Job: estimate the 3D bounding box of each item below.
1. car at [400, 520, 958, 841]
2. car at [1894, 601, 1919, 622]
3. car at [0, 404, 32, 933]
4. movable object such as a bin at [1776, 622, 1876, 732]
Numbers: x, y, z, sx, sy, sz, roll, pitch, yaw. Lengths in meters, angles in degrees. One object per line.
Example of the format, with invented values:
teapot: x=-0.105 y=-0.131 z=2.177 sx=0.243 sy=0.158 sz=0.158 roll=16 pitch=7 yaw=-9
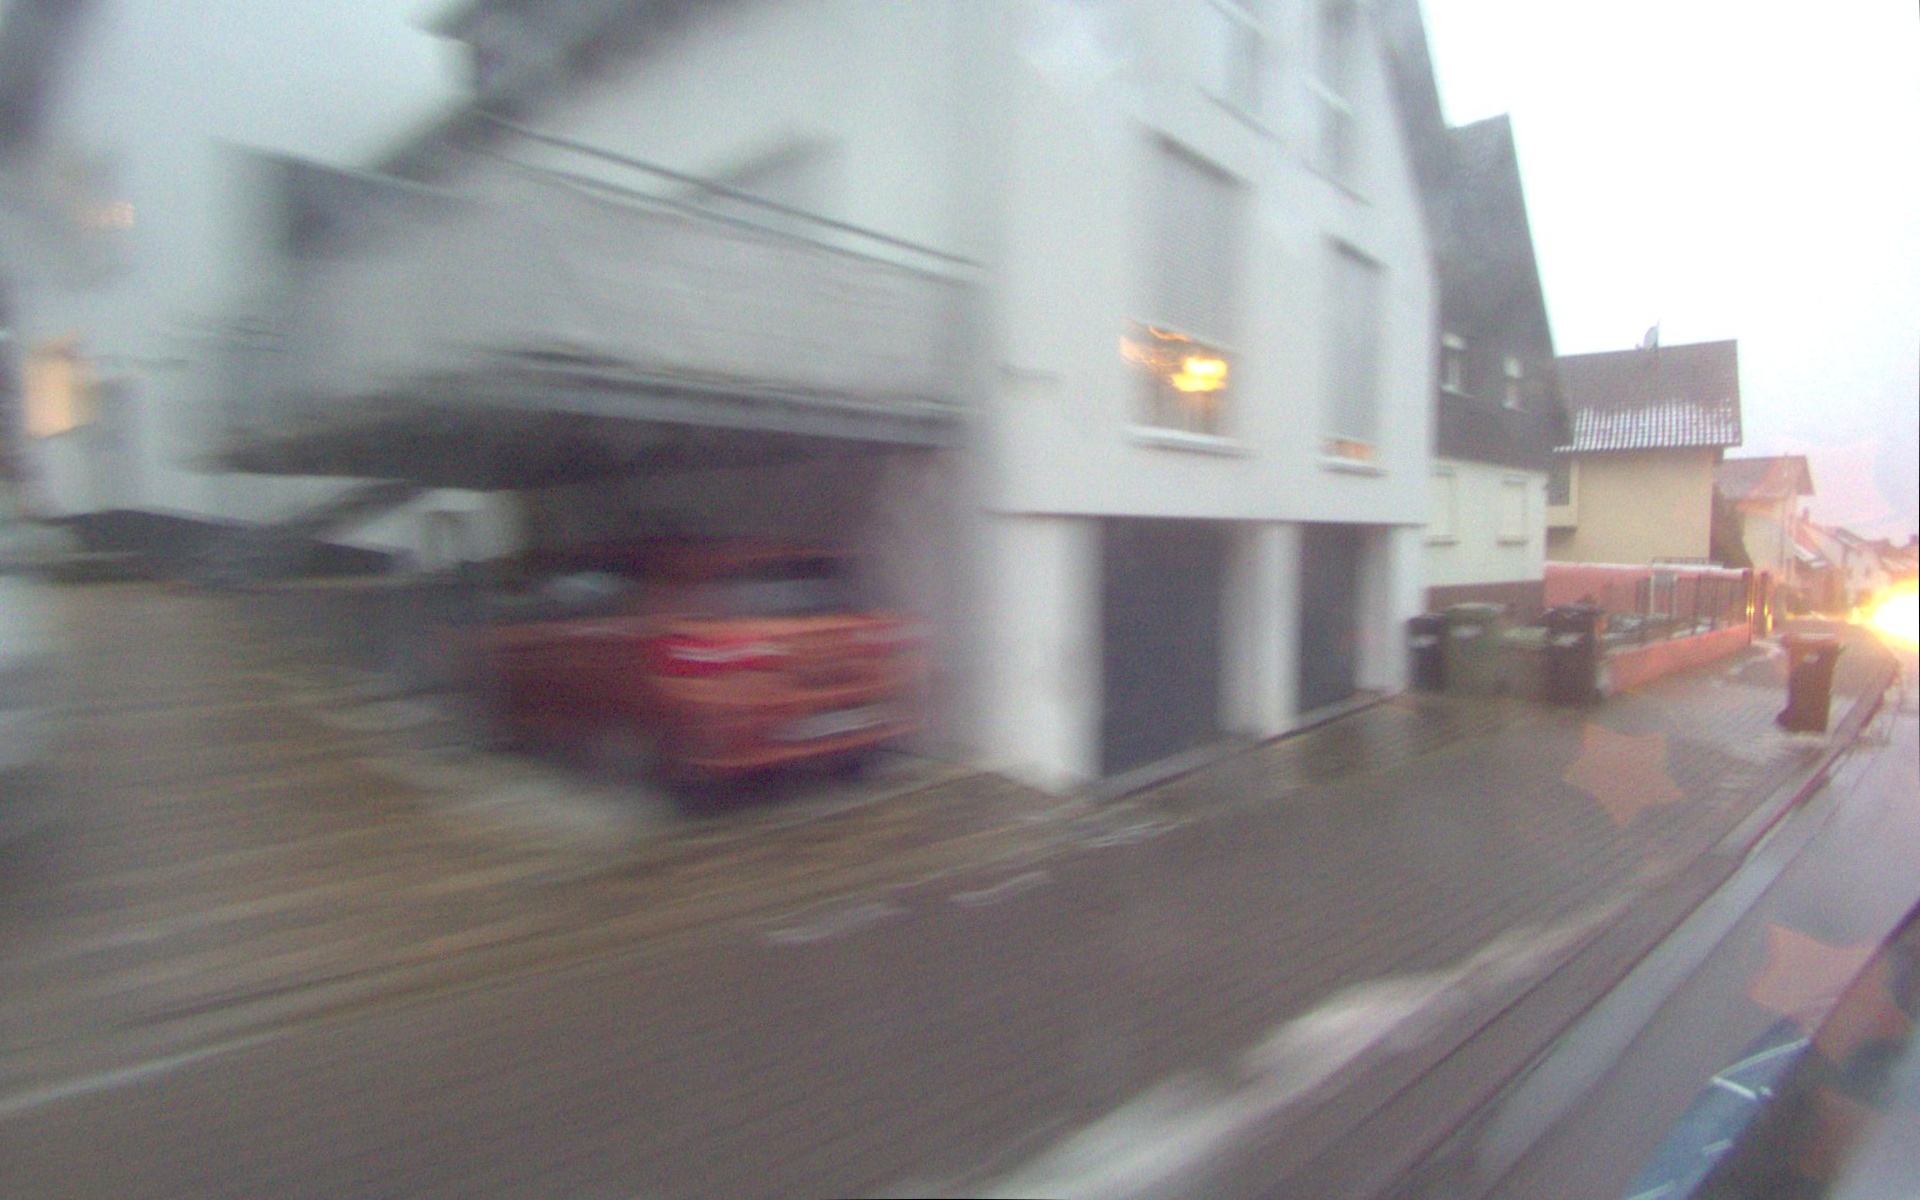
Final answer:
car: x=-2.027 y=0.254 z=6.609 sx=3.986 sy=1.474 sz=1.665 roll=3 pitch=4 yaw=43
car: x=74.159 y=0.878 z=78.905 sx=4.180 sy=1.513 sz=1.754 roll=0 pitch=3 yaw=-45
car: x=-4.998 y=-0.047 z=4.092 sx=1.749 sy=1.472 sz=4.295 roll=-1 pitch=11 yaw=-42
movable object such as a bin: x=8.614 y=0.741 z=10.072 sx=0.585 sy=0.957 sz=0.615 roll=-2 pitch=7 yaw=-42
